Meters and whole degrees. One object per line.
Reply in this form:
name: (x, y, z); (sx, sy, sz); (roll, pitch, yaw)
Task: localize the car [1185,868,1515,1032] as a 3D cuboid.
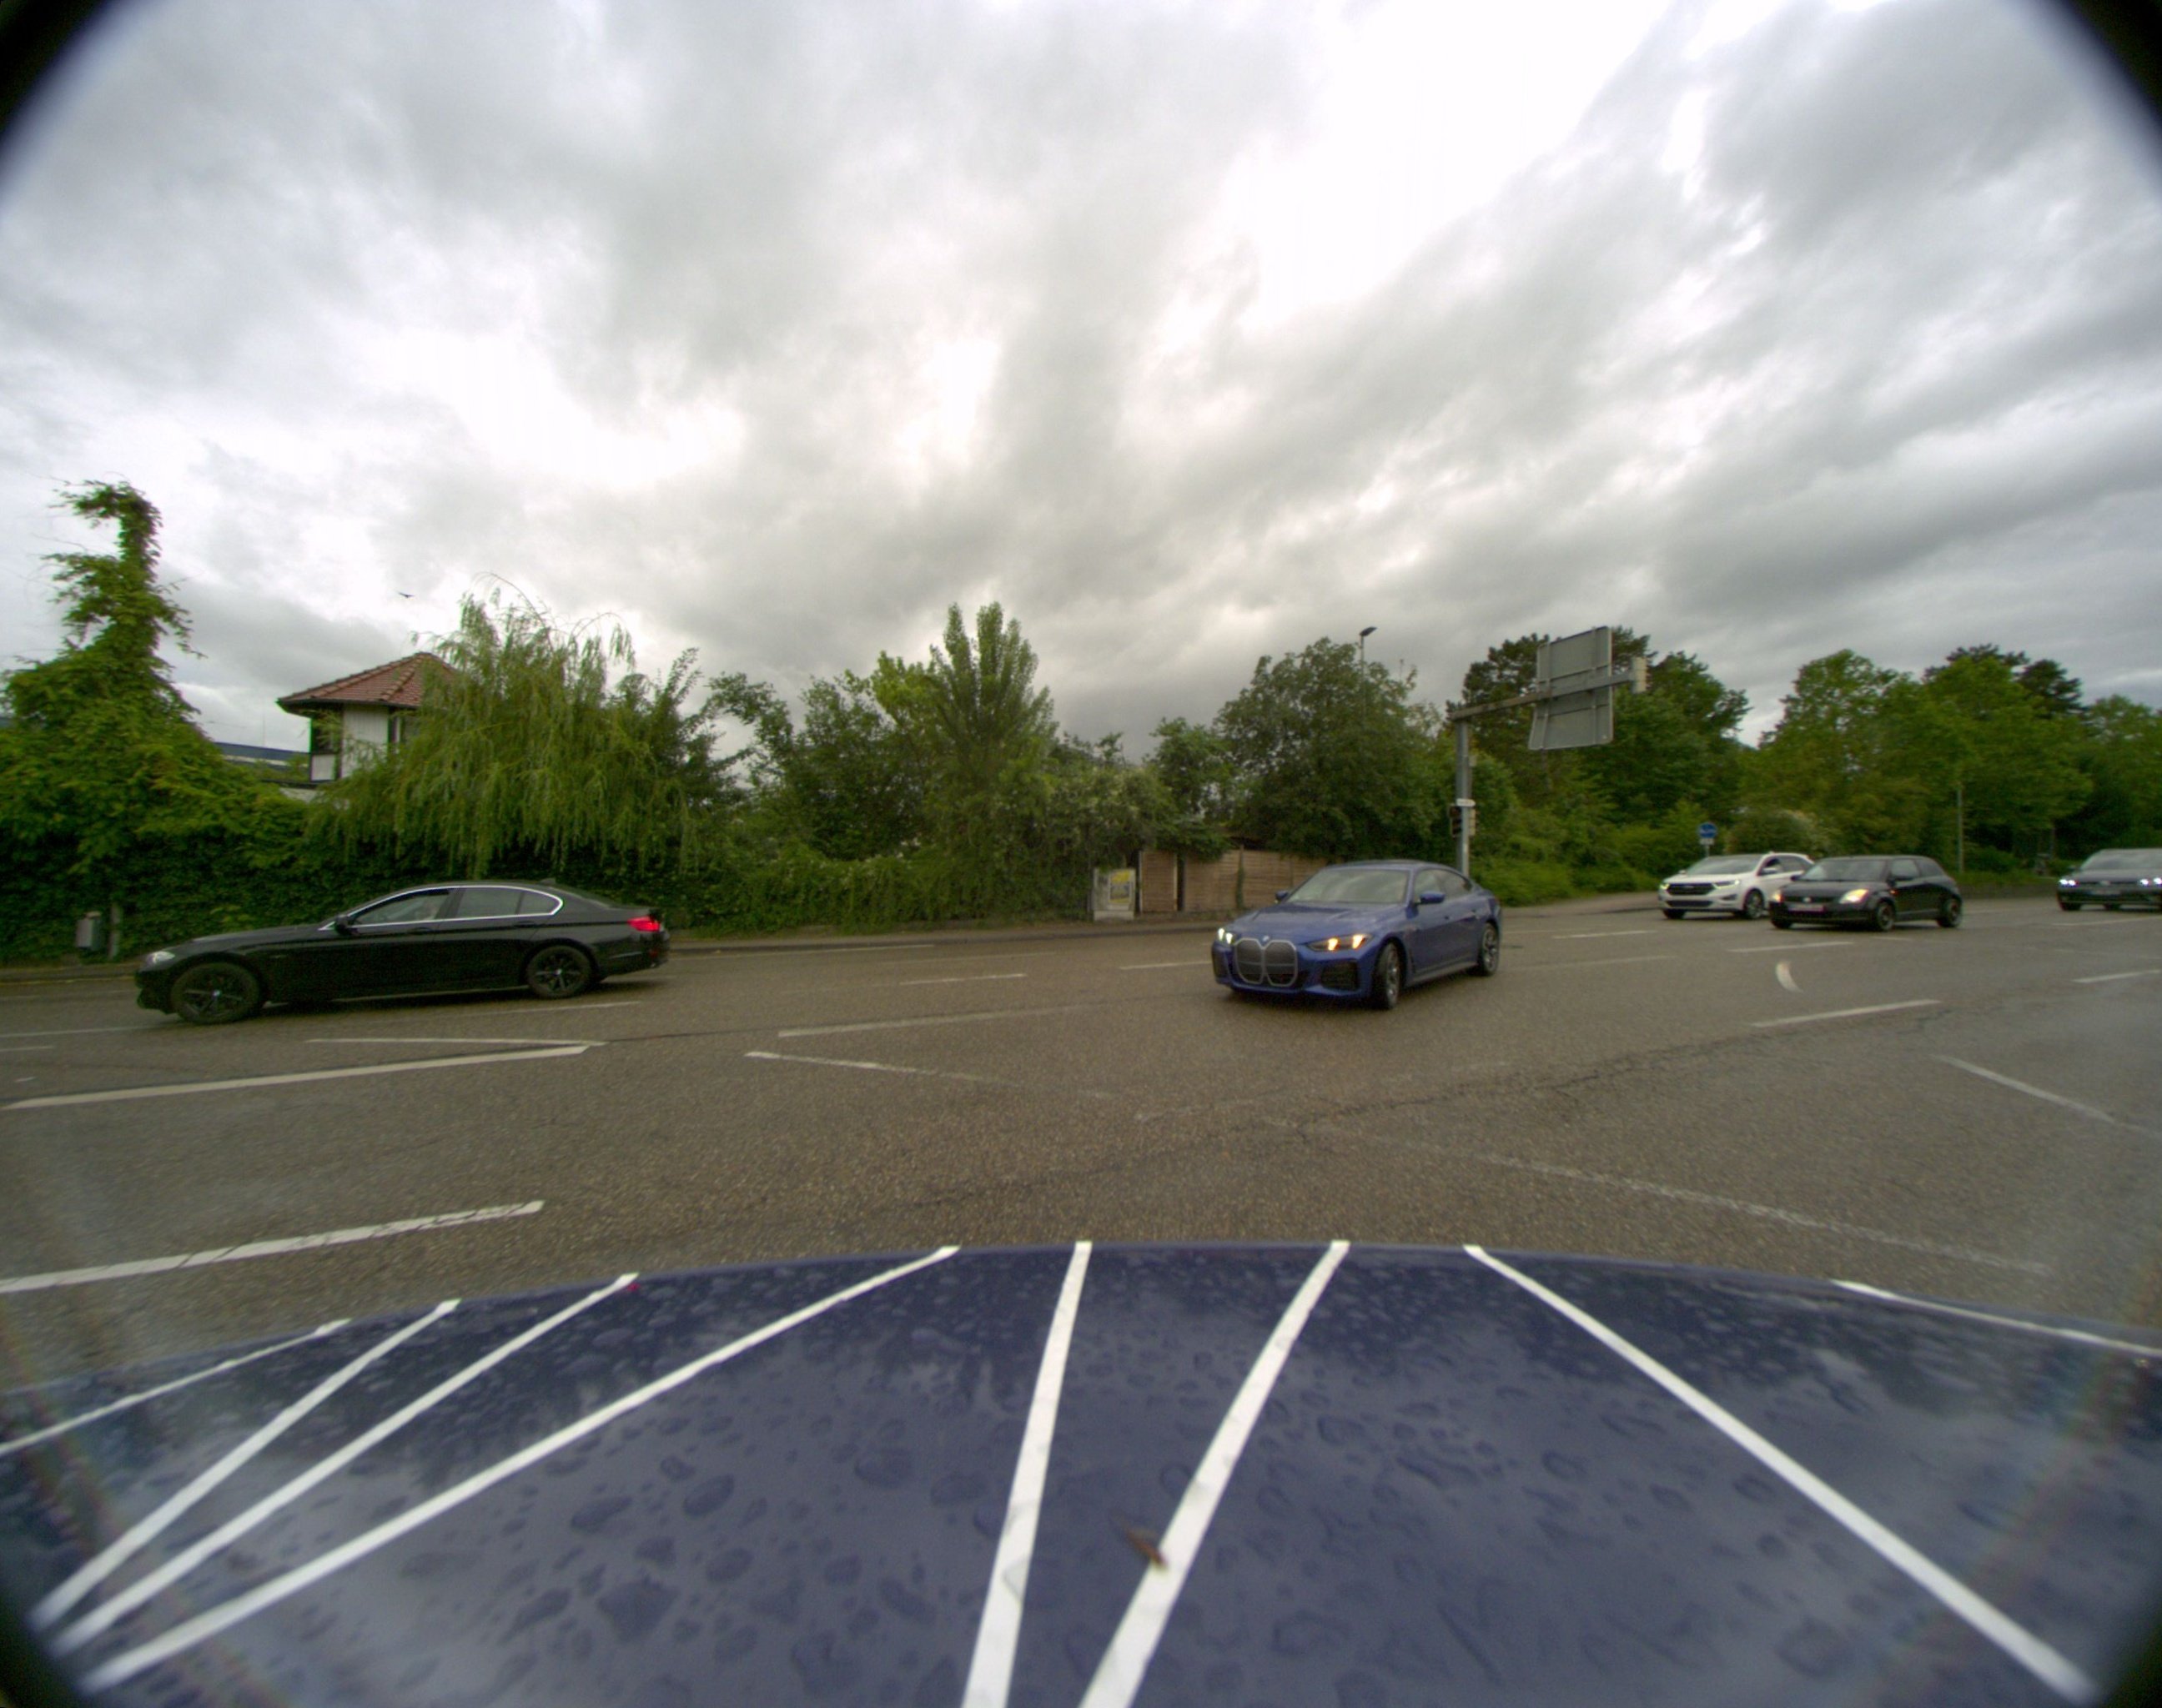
car: (3.326, 0.901, 8.926); (4.281, 1.399, 1.800); (0, 0, -41)

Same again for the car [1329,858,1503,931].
car: (8.132, 0.951, 18.459); (3.847, 1.612, 1.703); (0, -2, -24)

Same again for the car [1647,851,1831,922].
car: (16.898, 0.811, 19.544); (3.846, 1.612, 1.978); (-1, -3, -22)

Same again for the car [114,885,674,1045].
car: (-7.739, 1.170, 9.268); (4.725, 1.450, 1.793); (-1, -1, -23)

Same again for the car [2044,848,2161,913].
car: (27.510, 0.638, 19.857); (4.004, 1.542, 1.805); (-1, -1, -21)

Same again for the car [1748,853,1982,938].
car: (15.968, 0.776, 15.487); (4.227, 1.542, 1.805); (0, -1, -21)
